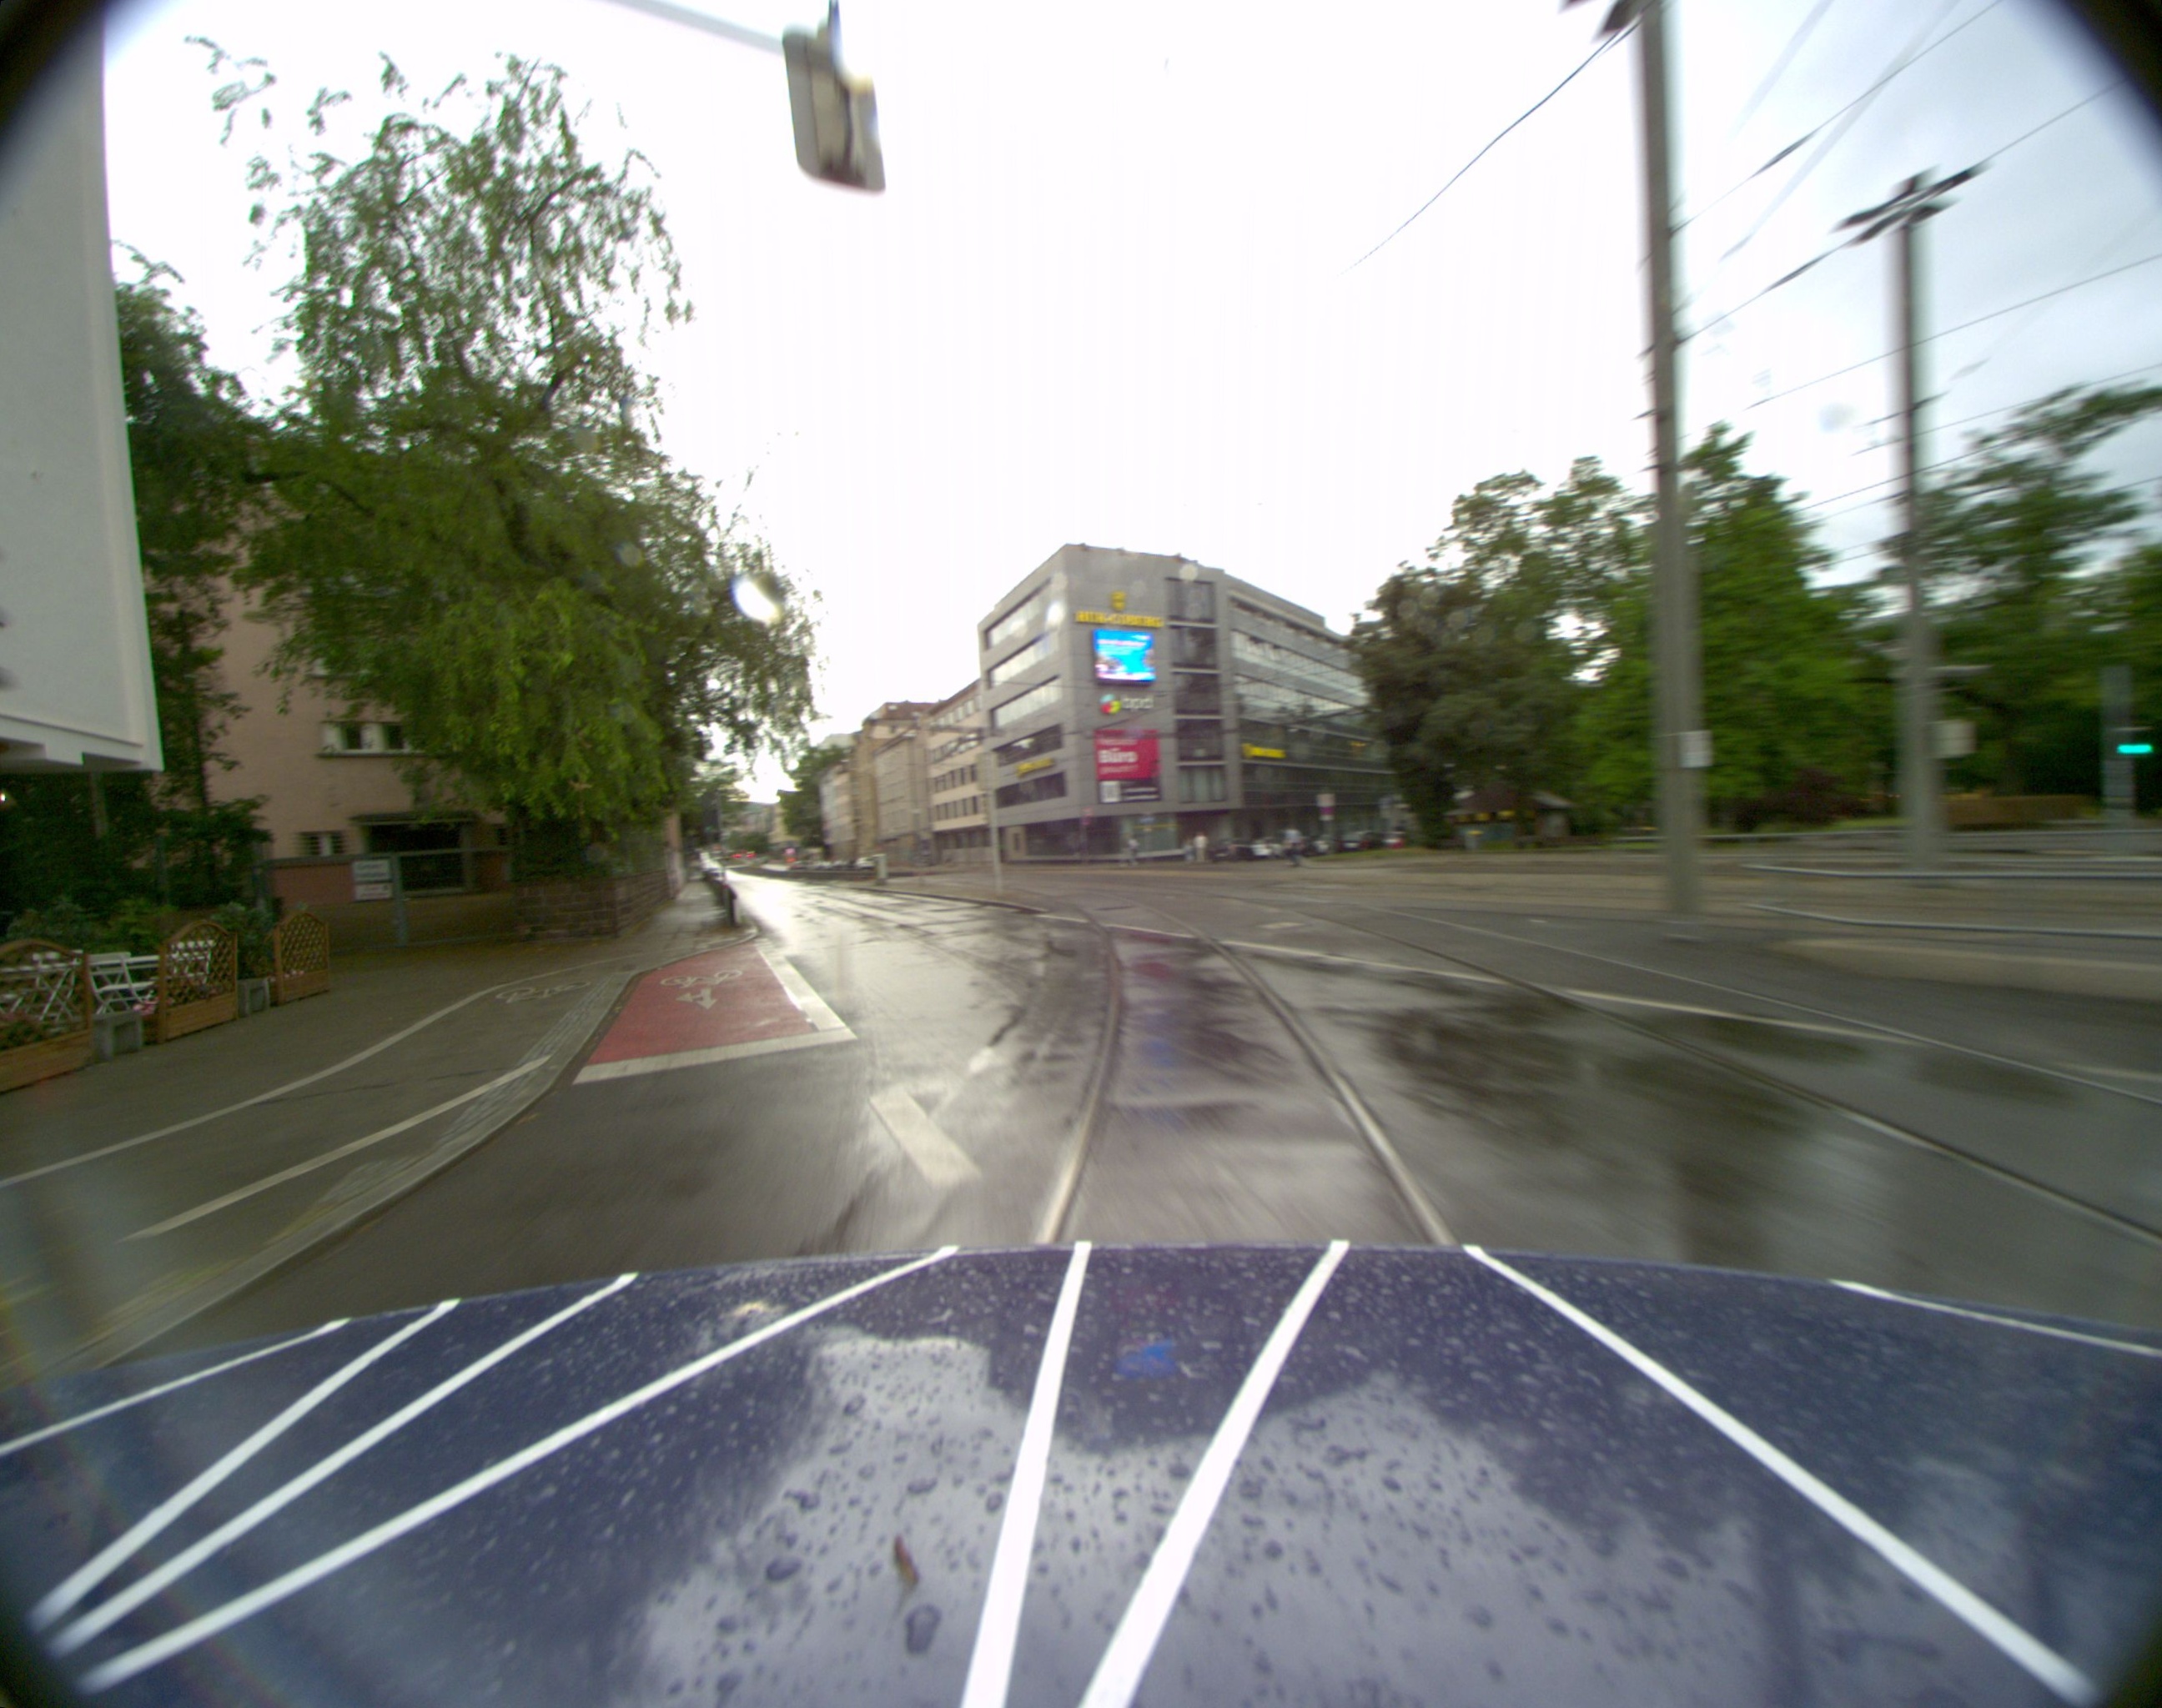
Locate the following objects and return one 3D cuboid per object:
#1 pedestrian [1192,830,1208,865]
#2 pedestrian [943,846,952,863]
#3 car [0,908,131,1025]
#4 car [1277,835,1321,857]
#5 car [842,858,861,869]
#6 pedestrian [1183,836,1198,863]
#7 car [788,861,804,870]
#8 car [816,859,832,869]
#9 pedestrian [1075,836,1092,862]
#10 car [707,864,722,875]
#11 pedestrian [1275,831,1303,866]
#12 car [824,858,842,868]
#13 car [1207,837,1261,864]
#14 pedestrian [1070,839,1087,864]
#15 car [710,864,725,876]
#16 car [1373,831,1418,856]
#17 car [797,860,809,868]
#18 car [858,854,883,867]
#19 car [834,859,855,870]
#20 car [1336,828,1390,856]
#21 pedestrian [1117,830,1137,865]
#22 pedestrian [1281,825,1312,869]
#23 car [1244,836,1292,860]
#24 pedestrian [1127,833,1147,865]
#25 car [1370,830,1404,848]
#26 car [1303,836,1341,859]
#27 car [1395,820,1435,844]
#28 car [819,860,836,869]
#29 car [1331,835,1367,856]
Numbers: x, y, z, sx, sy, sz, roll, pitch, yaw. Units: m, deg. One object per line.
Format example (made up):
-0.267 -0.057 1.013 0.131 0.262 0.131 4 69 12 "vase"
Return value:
7.017 -0.370 44.734 0.615 2.003 0.664 -4 3 25 "pedestrian"
-12.956 0.083 73.819 0.549 1.604 0.797 -7 3 -24 "pedestrian"
-16.518 1.693 10.826 3.199 1.498 1.797 -3 1 -26 "car"
15.311 -0.572 53.333 1.698 1.446 3.748 -2 1 36 "car"
-31.526 1.357 104.092 1.744 1.447 4.161 -1 0 -27 "car"
6.546 -0.290 45.509 0.589 1.585 0.635 -6 3 -10 "pedestrian"
-51.394 2.048 137.152 1.949 1.527 4.339 -1 0 -30 "car"
-43.344 1.666 128.290 1.846 1.596 4.219 -3 0 -28 "car"
0.187 -0.350 50.002 0.966 1.585 0.588 -5 3 0 "pedestrian"
-55.394 2.384 114.842 1.763 1.521 4.324 -5 1 -28 "car"
10.004 -0.273 36.542 0.911 1.585 1.005 -3 3 33 "pedestrian"
-38.667 1.381 118.229 2.003 1.389 5.011 -1 0 -26 "car"
9.493 -0.238 46.922 1.698 1.542 3.748 -2 1 39 "car"
-0.139 -0.157 50.660 0.816 1.585 0.587 -7 3 -29 "pedestrian"
-52.597 2.335 109.986 1.791 1.521 4.236 -5 1 -26 "car"
19.761 -0.690 47.673 1.698 1.440 3.546 -2 1 37 "car"
-56.266 1.945 153.881 1.846 1.532 4.219 -2 0 -26 "car"
-25.949 0.839 93.725 2.003 1.527 4.739 -1 0 -27 "car"
-33.854 1.516 108.642 2.003 1.447 5.011 -1 0 -27 "car"
16.182 -0.683 43.518 1.698 1.440 3.547 -2 1 41 "car"
2.724 -0.356 44.984 0.663 2.003 0.809 -6 3 -25 "pedestrian"
9.695 -0.306 34.208 1.001 1.853 0.914 -3 3 32 "pedestrian"
12.348 -0.407 49.931 1.698 1.446 3.748 -2 1 36 "car"
3.384 -0.315 46.100 0.661 1.805 0.975 -3 3 34 "pedestrian"
27.516 -1.358 68.337 1.698 1.440 3.547 -2 1 41 "car"
18.243 -0.512 57.444 1.698 1.546 3.546 -2 1 36 "car"
32.976 -2.155 75.005 2.326 2.208 5.078 -2 1 39 "car"
-41.058 1.705 123.080 1.846 1.389 4.257 -2 0 -28 "car"
21.332 -0.697 60.482 1.698 1.546 3.546 -2 1 36 "car"
